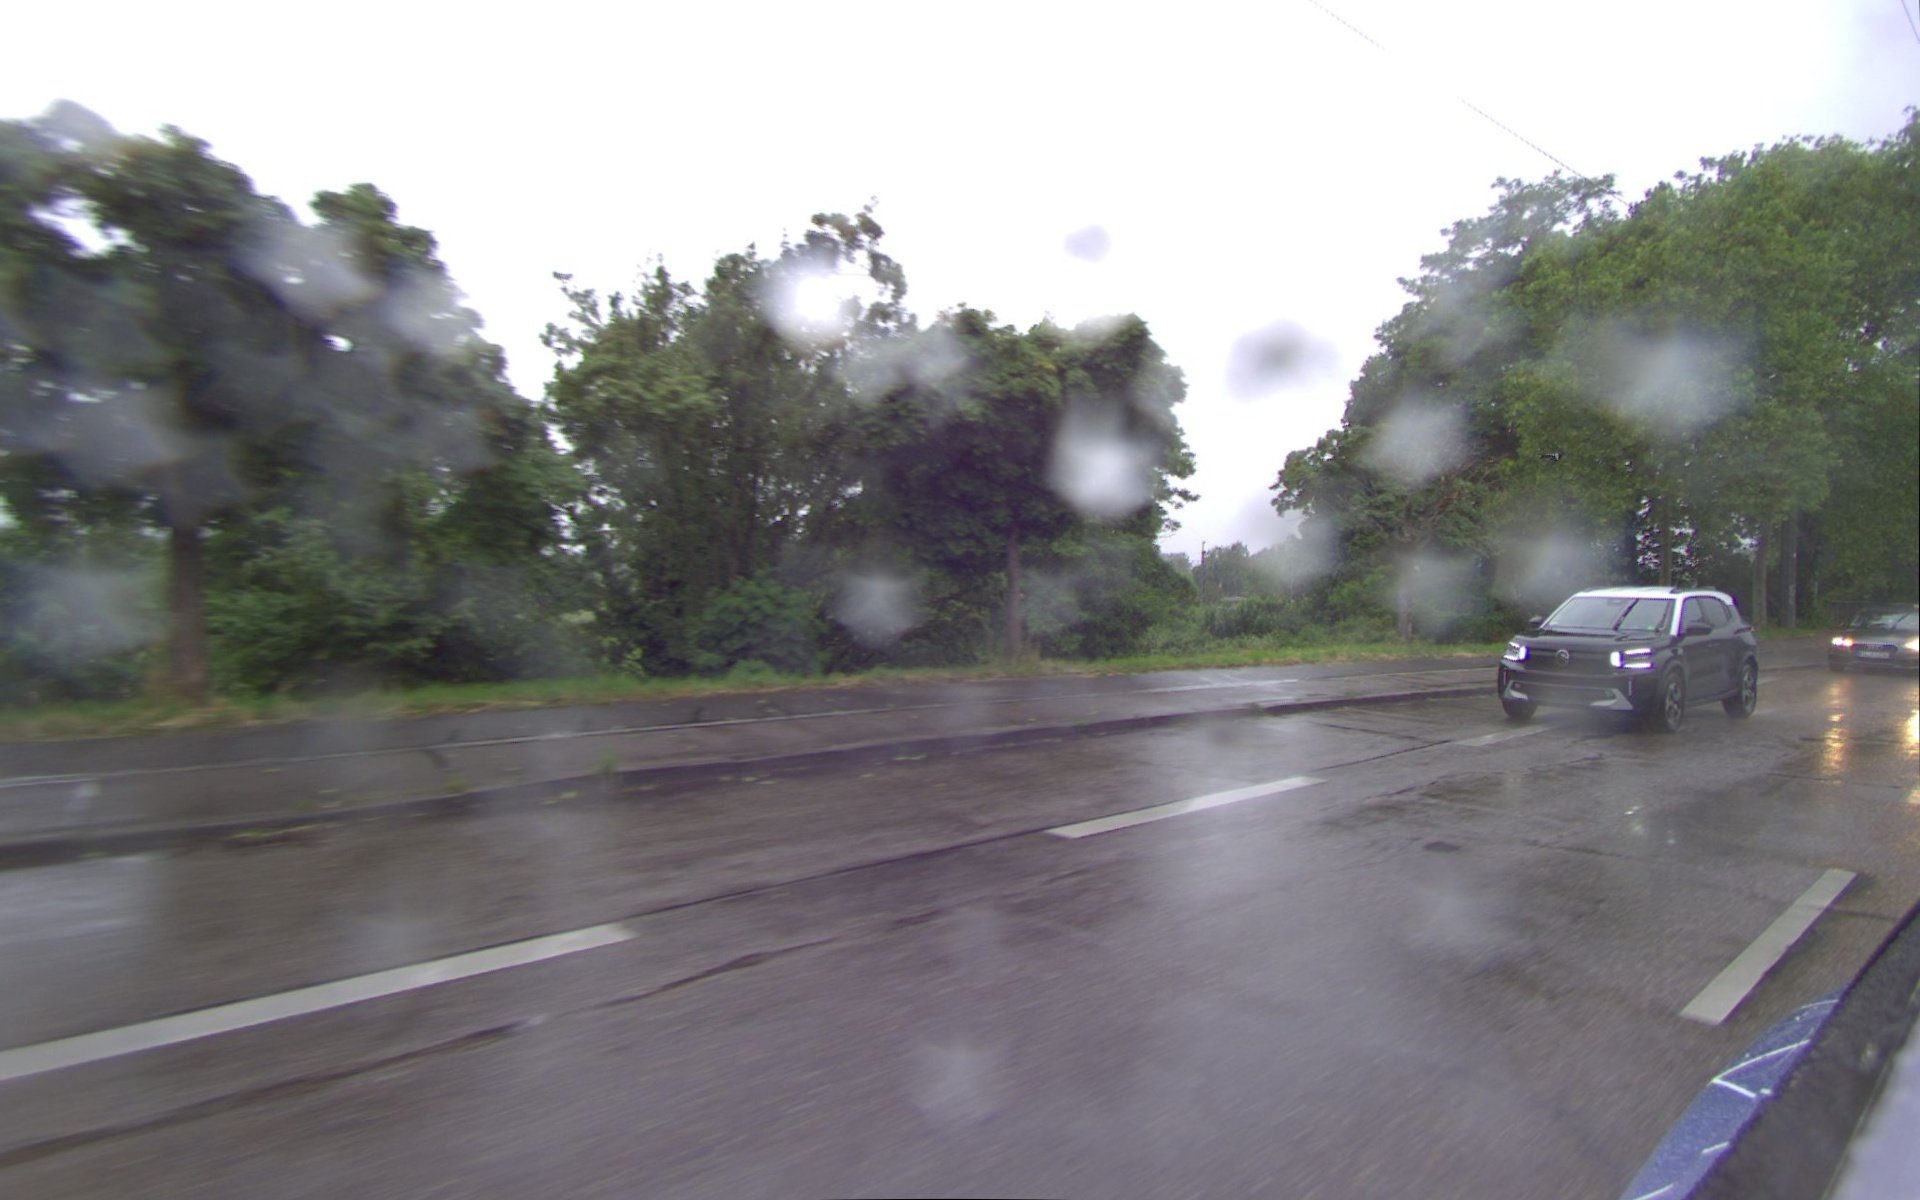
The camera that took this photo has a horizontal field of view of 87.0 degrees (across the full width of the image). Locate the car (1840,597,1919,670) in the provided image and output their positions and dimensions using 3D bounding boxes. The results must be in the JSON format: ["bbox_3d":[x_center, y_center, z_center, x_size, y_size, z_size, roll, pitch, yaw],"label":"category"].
[{"bbox_3d":[20.617,0.706,21.874,3.928,1.445,1.783,1,0,-40],"label":"car"}]

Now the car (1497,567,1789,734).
[{"bbox_3d":[8.656,0.545,12.653,4.678,1.724,1.796,1,0,-40],"label":"car"}]
